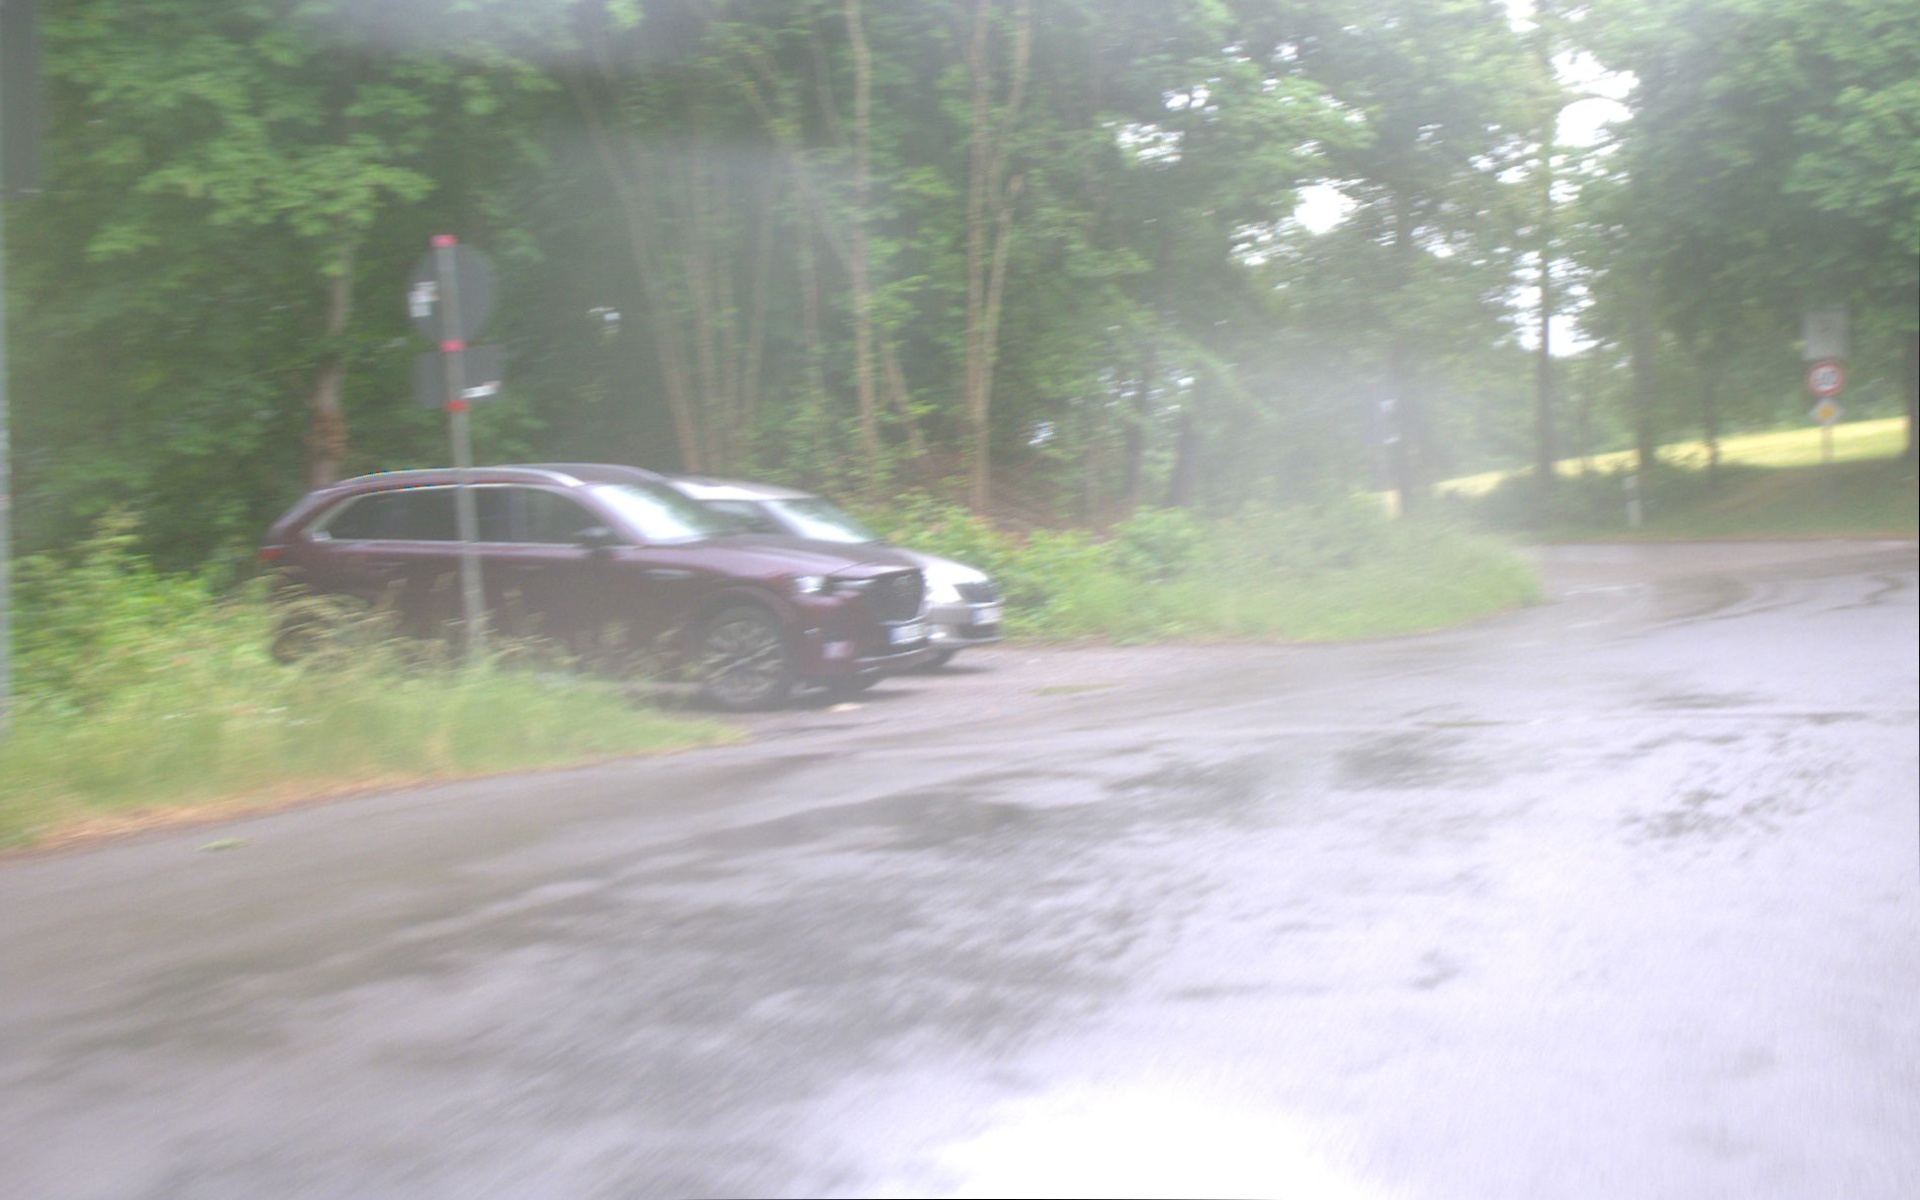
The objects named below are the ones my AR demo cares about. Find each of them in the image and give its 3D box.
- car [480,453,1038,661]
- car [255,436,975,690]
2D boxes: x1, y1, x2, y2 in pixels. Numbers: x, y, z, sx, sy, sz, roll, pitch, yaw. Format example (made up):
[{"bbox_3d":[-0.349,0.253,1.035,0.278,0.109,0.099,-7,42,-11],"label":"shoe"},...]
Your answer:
[{"bbox_3d":[-1.630,-0.367,27.884,4.141,1.549,1.772,0,3,25],"label":"car"},{"bbox_3d":[-2.493,-0.294,24.786,4.831,1.671,1.874,0,3,23],"label":"car"}]
